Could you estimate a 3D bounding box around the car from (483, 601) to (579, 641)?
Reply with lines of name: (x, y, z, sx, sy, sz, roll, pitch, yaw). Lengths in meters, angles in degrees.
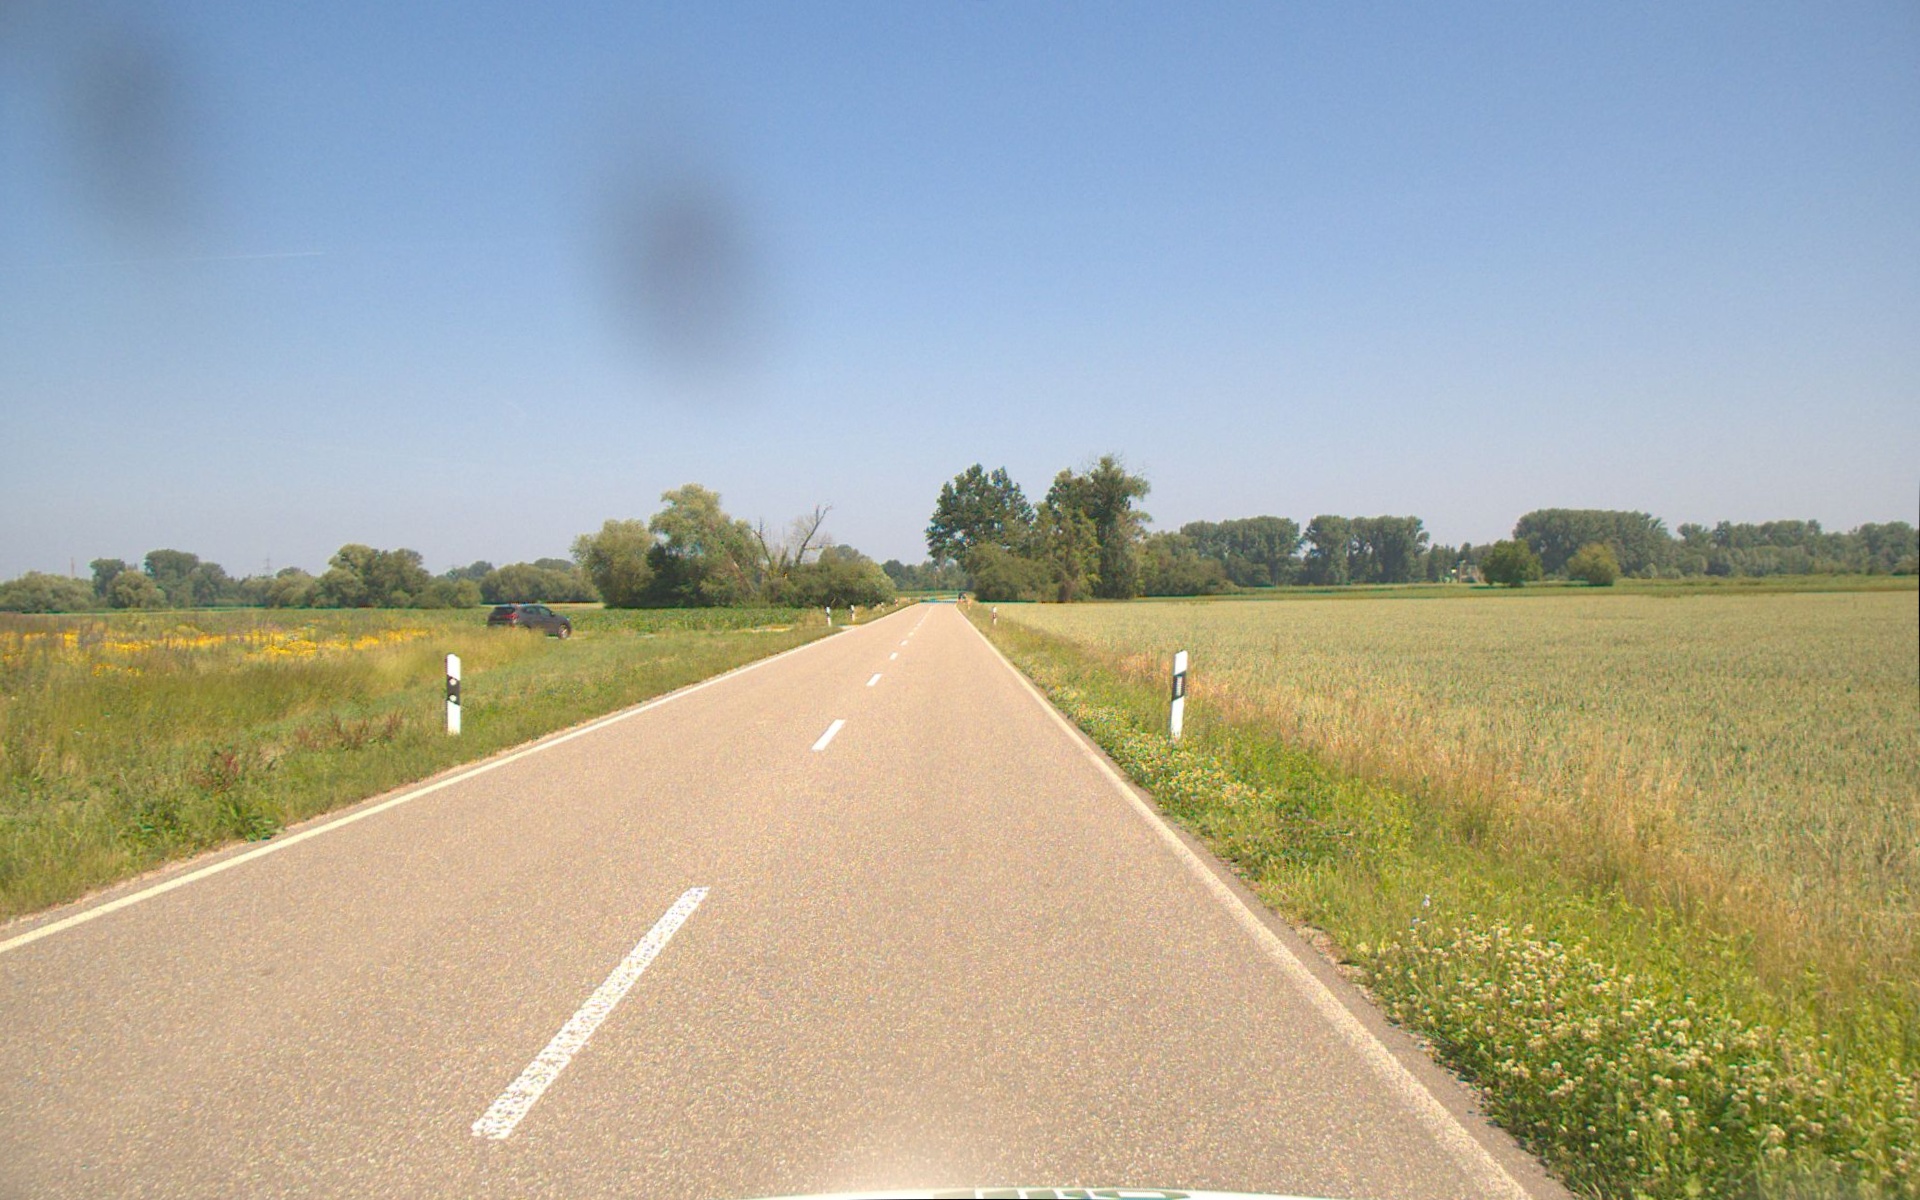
car: (-19.494, 0.940, 75.353, 1.718, 1.680, 4.527, -1, 0, 25)
